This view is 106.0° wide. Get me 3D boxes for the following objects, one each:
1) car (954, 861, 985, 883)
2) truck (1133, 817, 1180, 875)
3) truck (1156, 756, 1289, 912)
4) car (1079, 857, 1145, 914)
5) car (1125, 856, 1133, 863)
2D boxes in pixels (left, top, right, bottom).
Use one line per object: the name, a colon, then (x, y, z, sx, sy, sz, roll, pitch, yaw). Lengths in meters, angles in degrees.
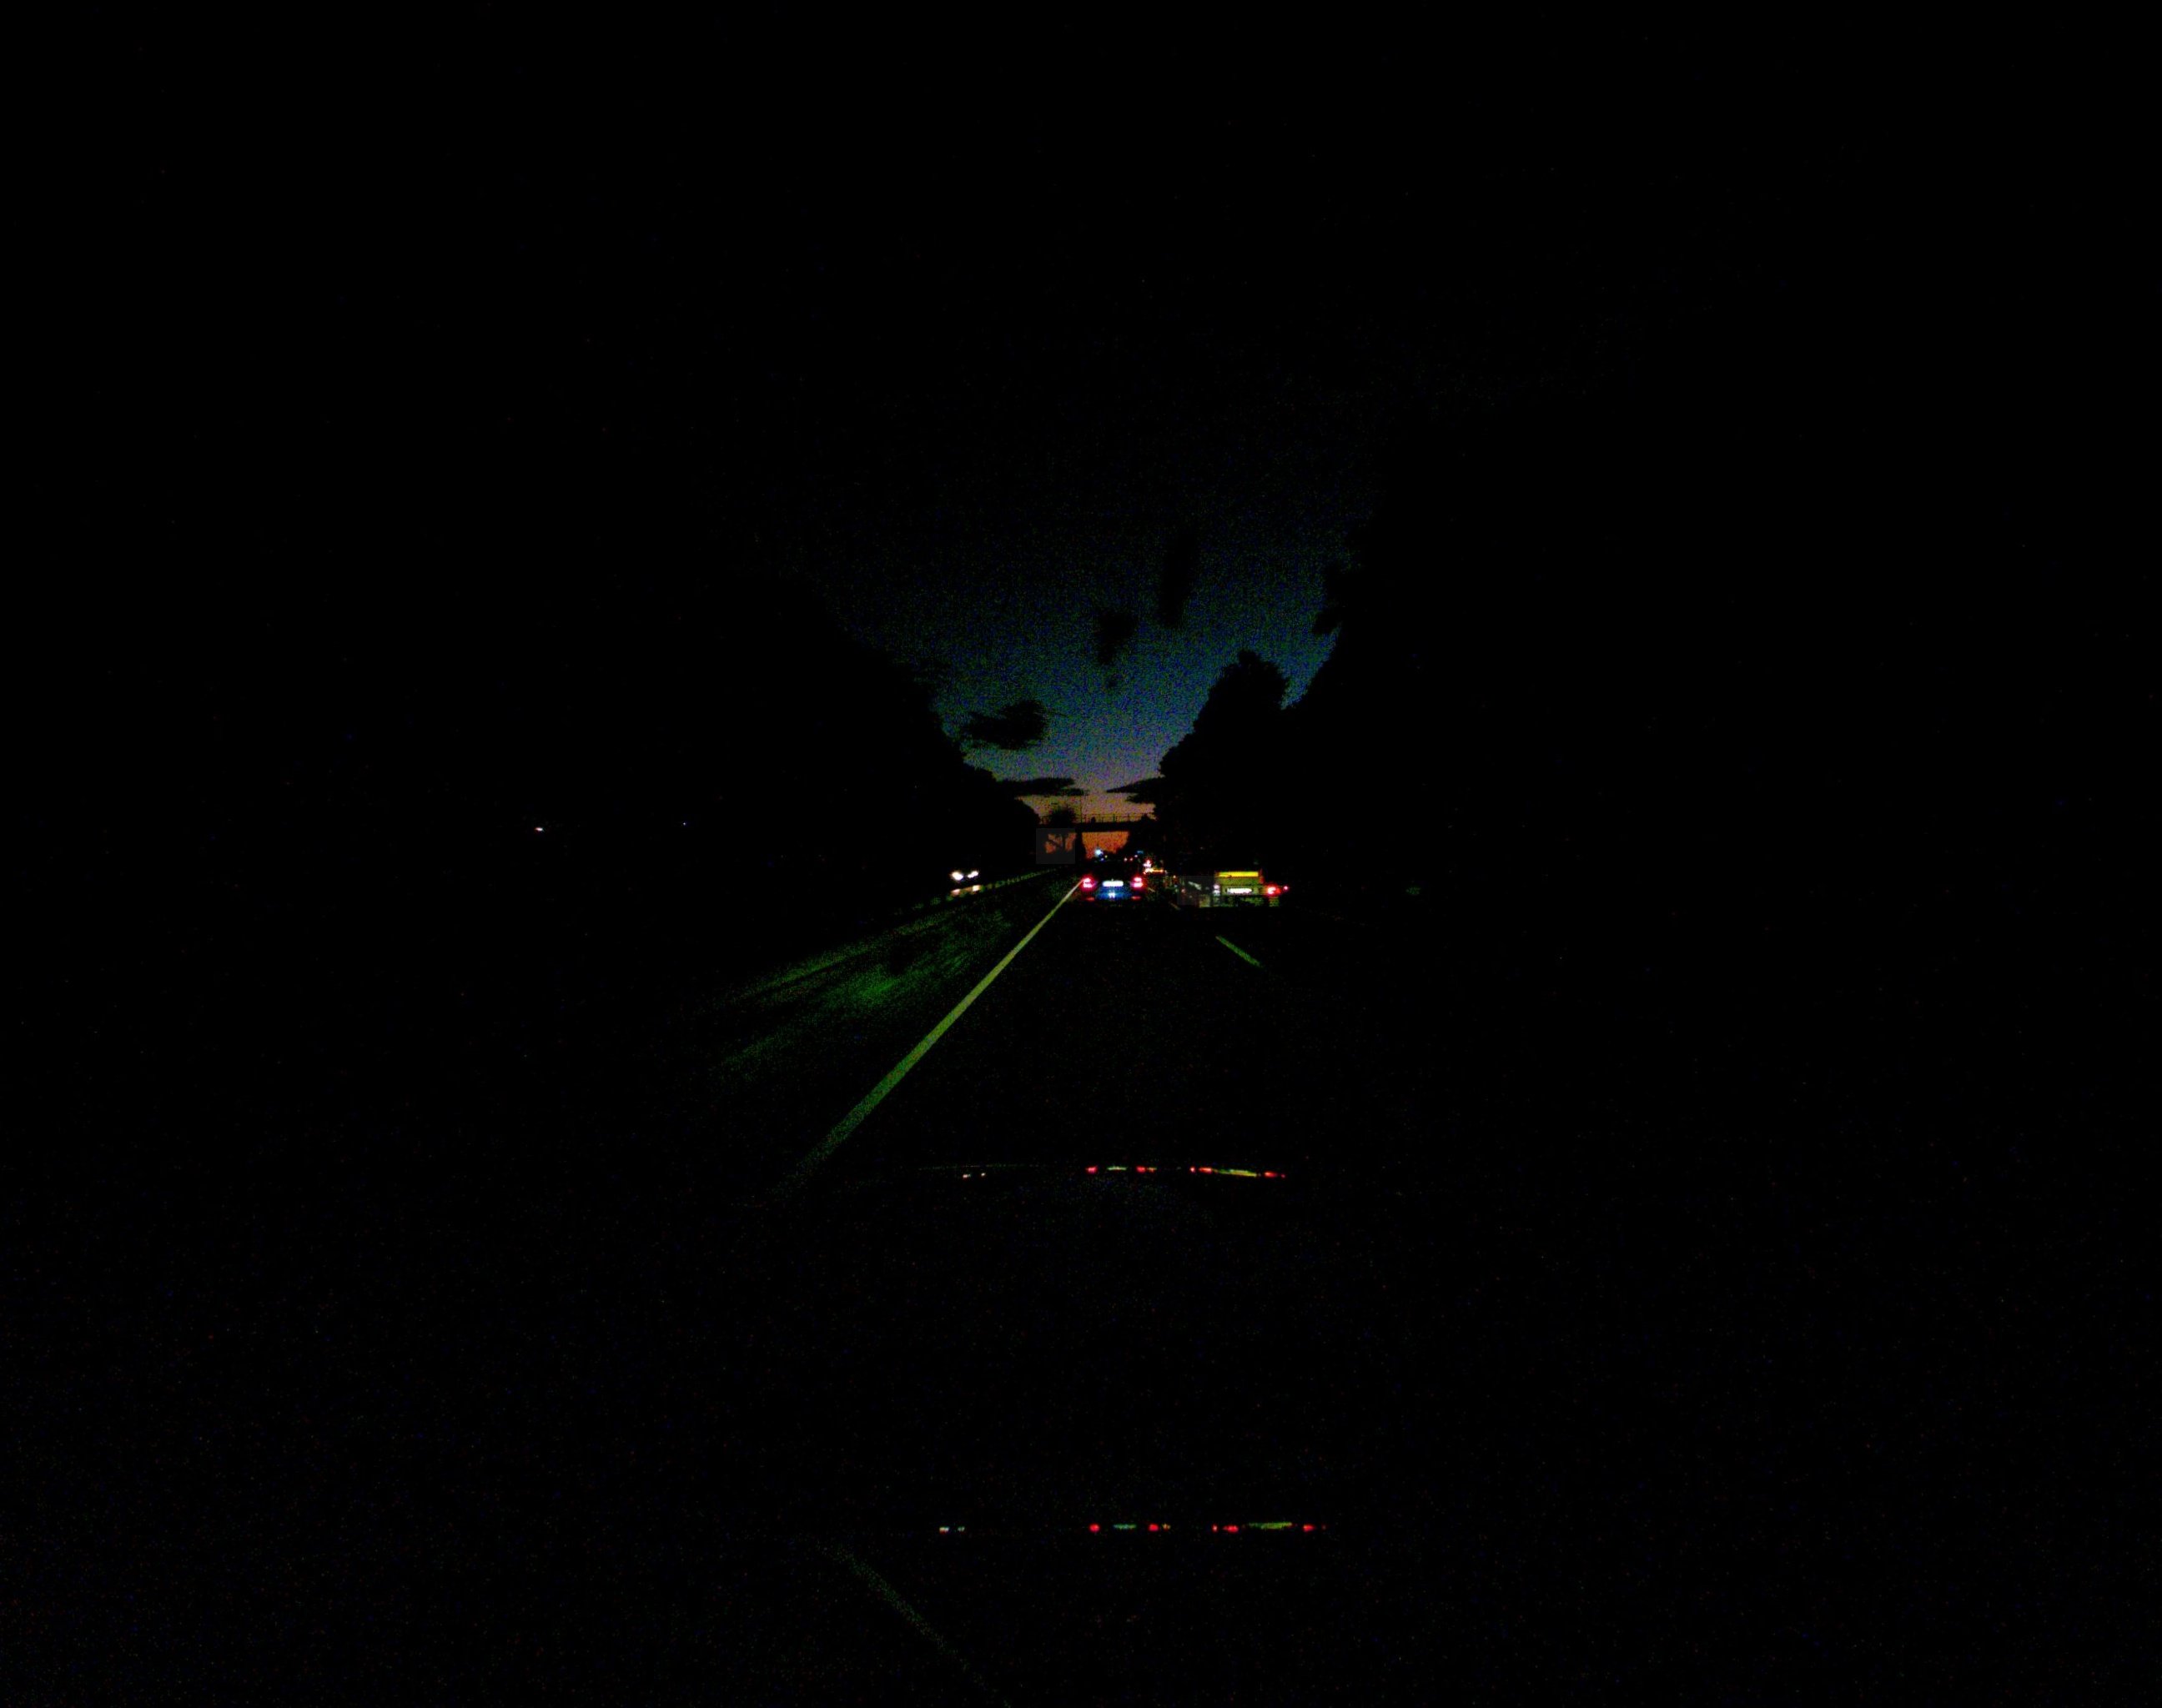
car: (-7.993, 1.299, 58.617, 1.611, 1.507, 3.870, -1, -1, 2)
truck: (5.859, -0.514, 64.984, 2.872, 4.106, 12.687, -1, -1, 2)
truck: (4.352, -0.553, 28.158, 2.677, 4.106, 13.146, -1, 0, 2)
car: (0.867, 0.834, 23.054, 1.689, 1.452, 3.915, -1, -1, 1)
car: (10.572, 1.145, 178.725, 1.689, 1.452, 3.915, -1, -1, 1)
